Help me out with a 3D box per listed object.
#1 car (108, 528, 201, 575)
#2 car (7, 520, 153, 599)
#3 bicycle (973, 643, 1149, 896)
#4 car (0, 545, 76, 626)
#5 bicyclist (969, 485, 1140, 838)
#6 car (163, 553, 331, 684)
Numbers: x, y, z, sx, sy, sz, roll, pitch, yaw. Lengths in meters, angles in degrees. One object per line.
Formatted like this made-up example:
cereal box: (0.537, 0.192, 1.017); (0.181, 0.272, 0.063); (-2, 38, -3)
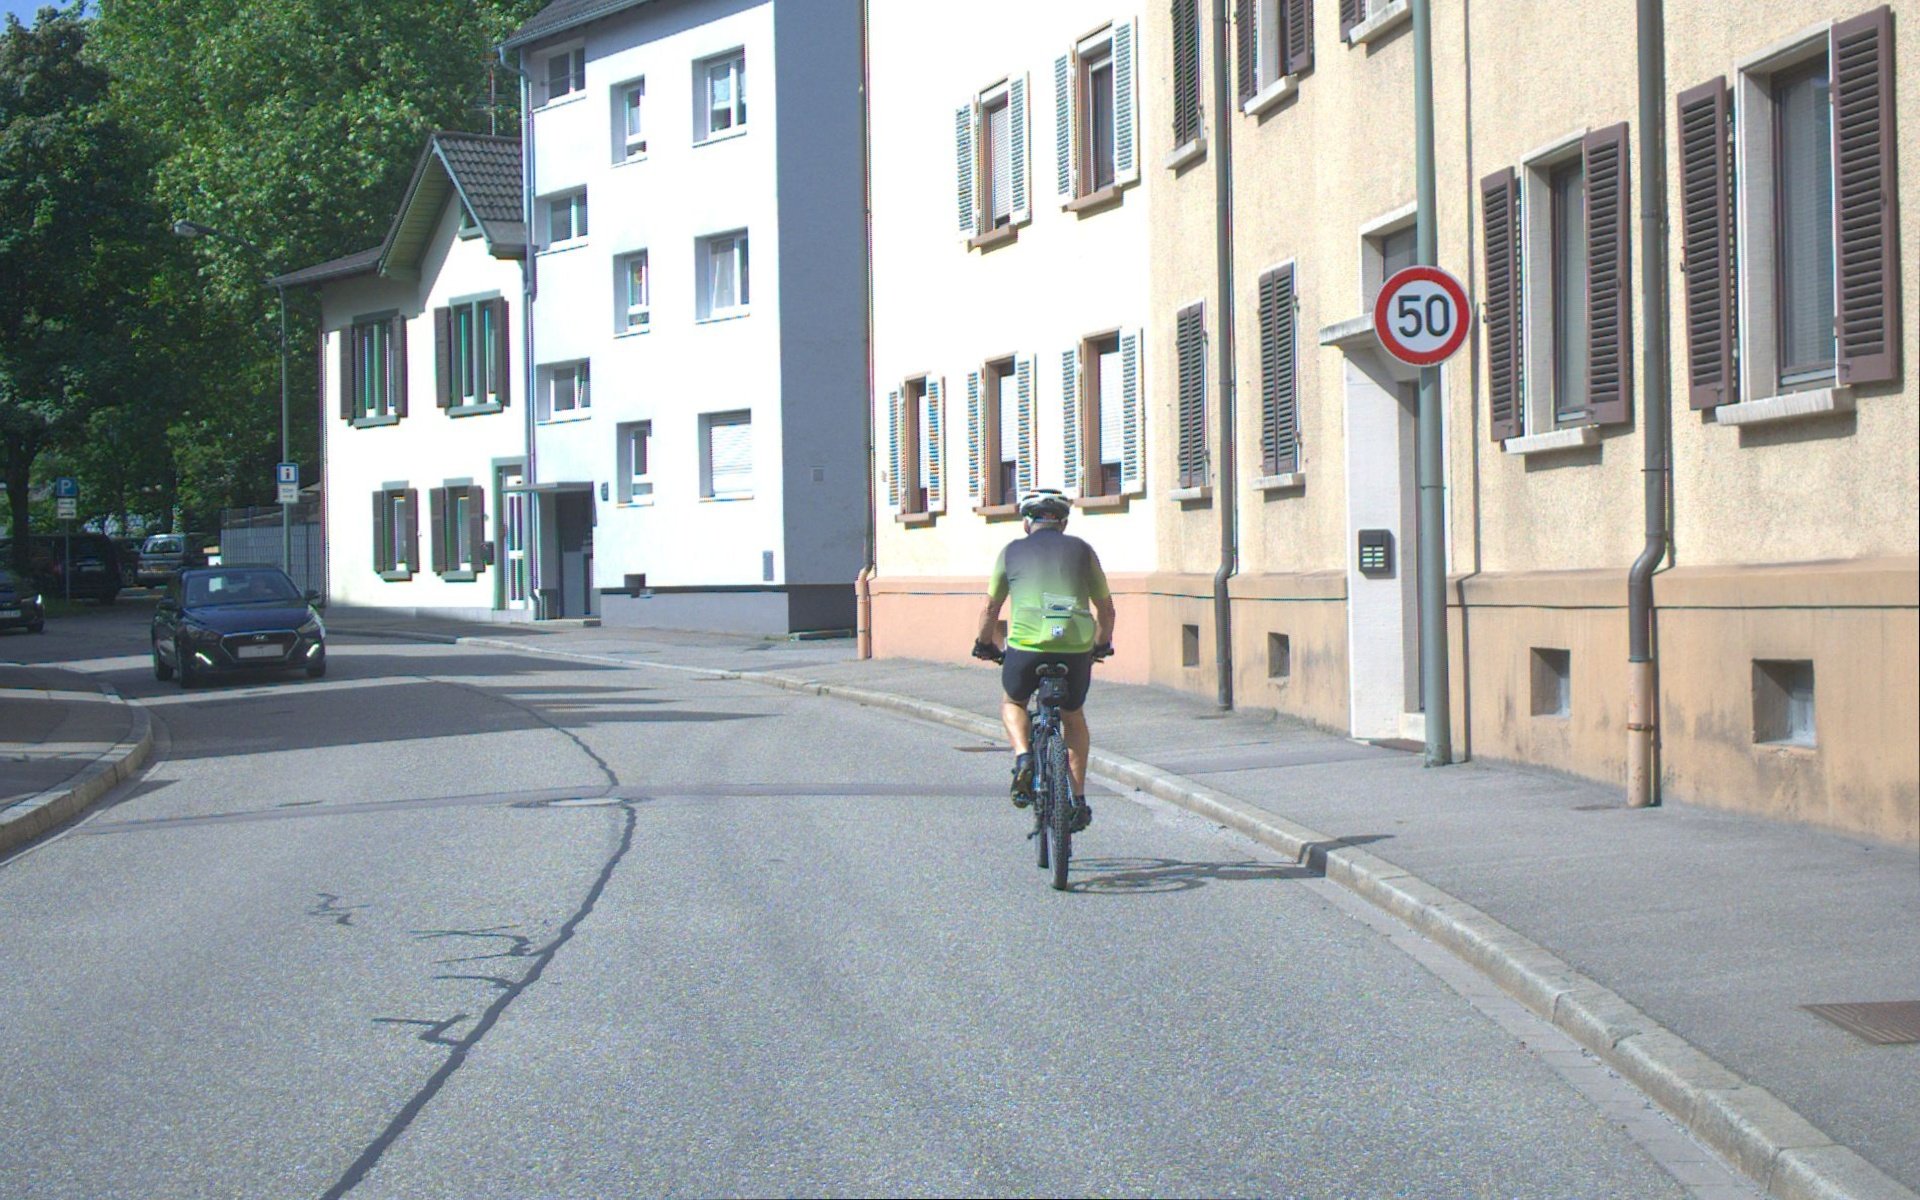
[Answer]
car: (-22.625, -1.359, 96.502); (1.582, 1.253, 3.858); (-2, 2, -27)
car: (-21.372, -1.014, 83.406); (1.823, 1.785, 3.999); (-3, 3, -40)
bicycle: (0.435, 0.733, 15.414); (0.698, 1.032, 1.471); (0, 1, -2)
car: (-18.941, -0.230, 66.466); (1.660, 1.444, 4.256); (-5, 2, -43)
bicyclist: (0.413, 0.264, 15.385); (0.685, 1.526, 0.715); (-1, 0, -2)
car: (-9.085, 0.197, 43.617); (1.747, 1.448, 4.029); (-5, 2, -15)
